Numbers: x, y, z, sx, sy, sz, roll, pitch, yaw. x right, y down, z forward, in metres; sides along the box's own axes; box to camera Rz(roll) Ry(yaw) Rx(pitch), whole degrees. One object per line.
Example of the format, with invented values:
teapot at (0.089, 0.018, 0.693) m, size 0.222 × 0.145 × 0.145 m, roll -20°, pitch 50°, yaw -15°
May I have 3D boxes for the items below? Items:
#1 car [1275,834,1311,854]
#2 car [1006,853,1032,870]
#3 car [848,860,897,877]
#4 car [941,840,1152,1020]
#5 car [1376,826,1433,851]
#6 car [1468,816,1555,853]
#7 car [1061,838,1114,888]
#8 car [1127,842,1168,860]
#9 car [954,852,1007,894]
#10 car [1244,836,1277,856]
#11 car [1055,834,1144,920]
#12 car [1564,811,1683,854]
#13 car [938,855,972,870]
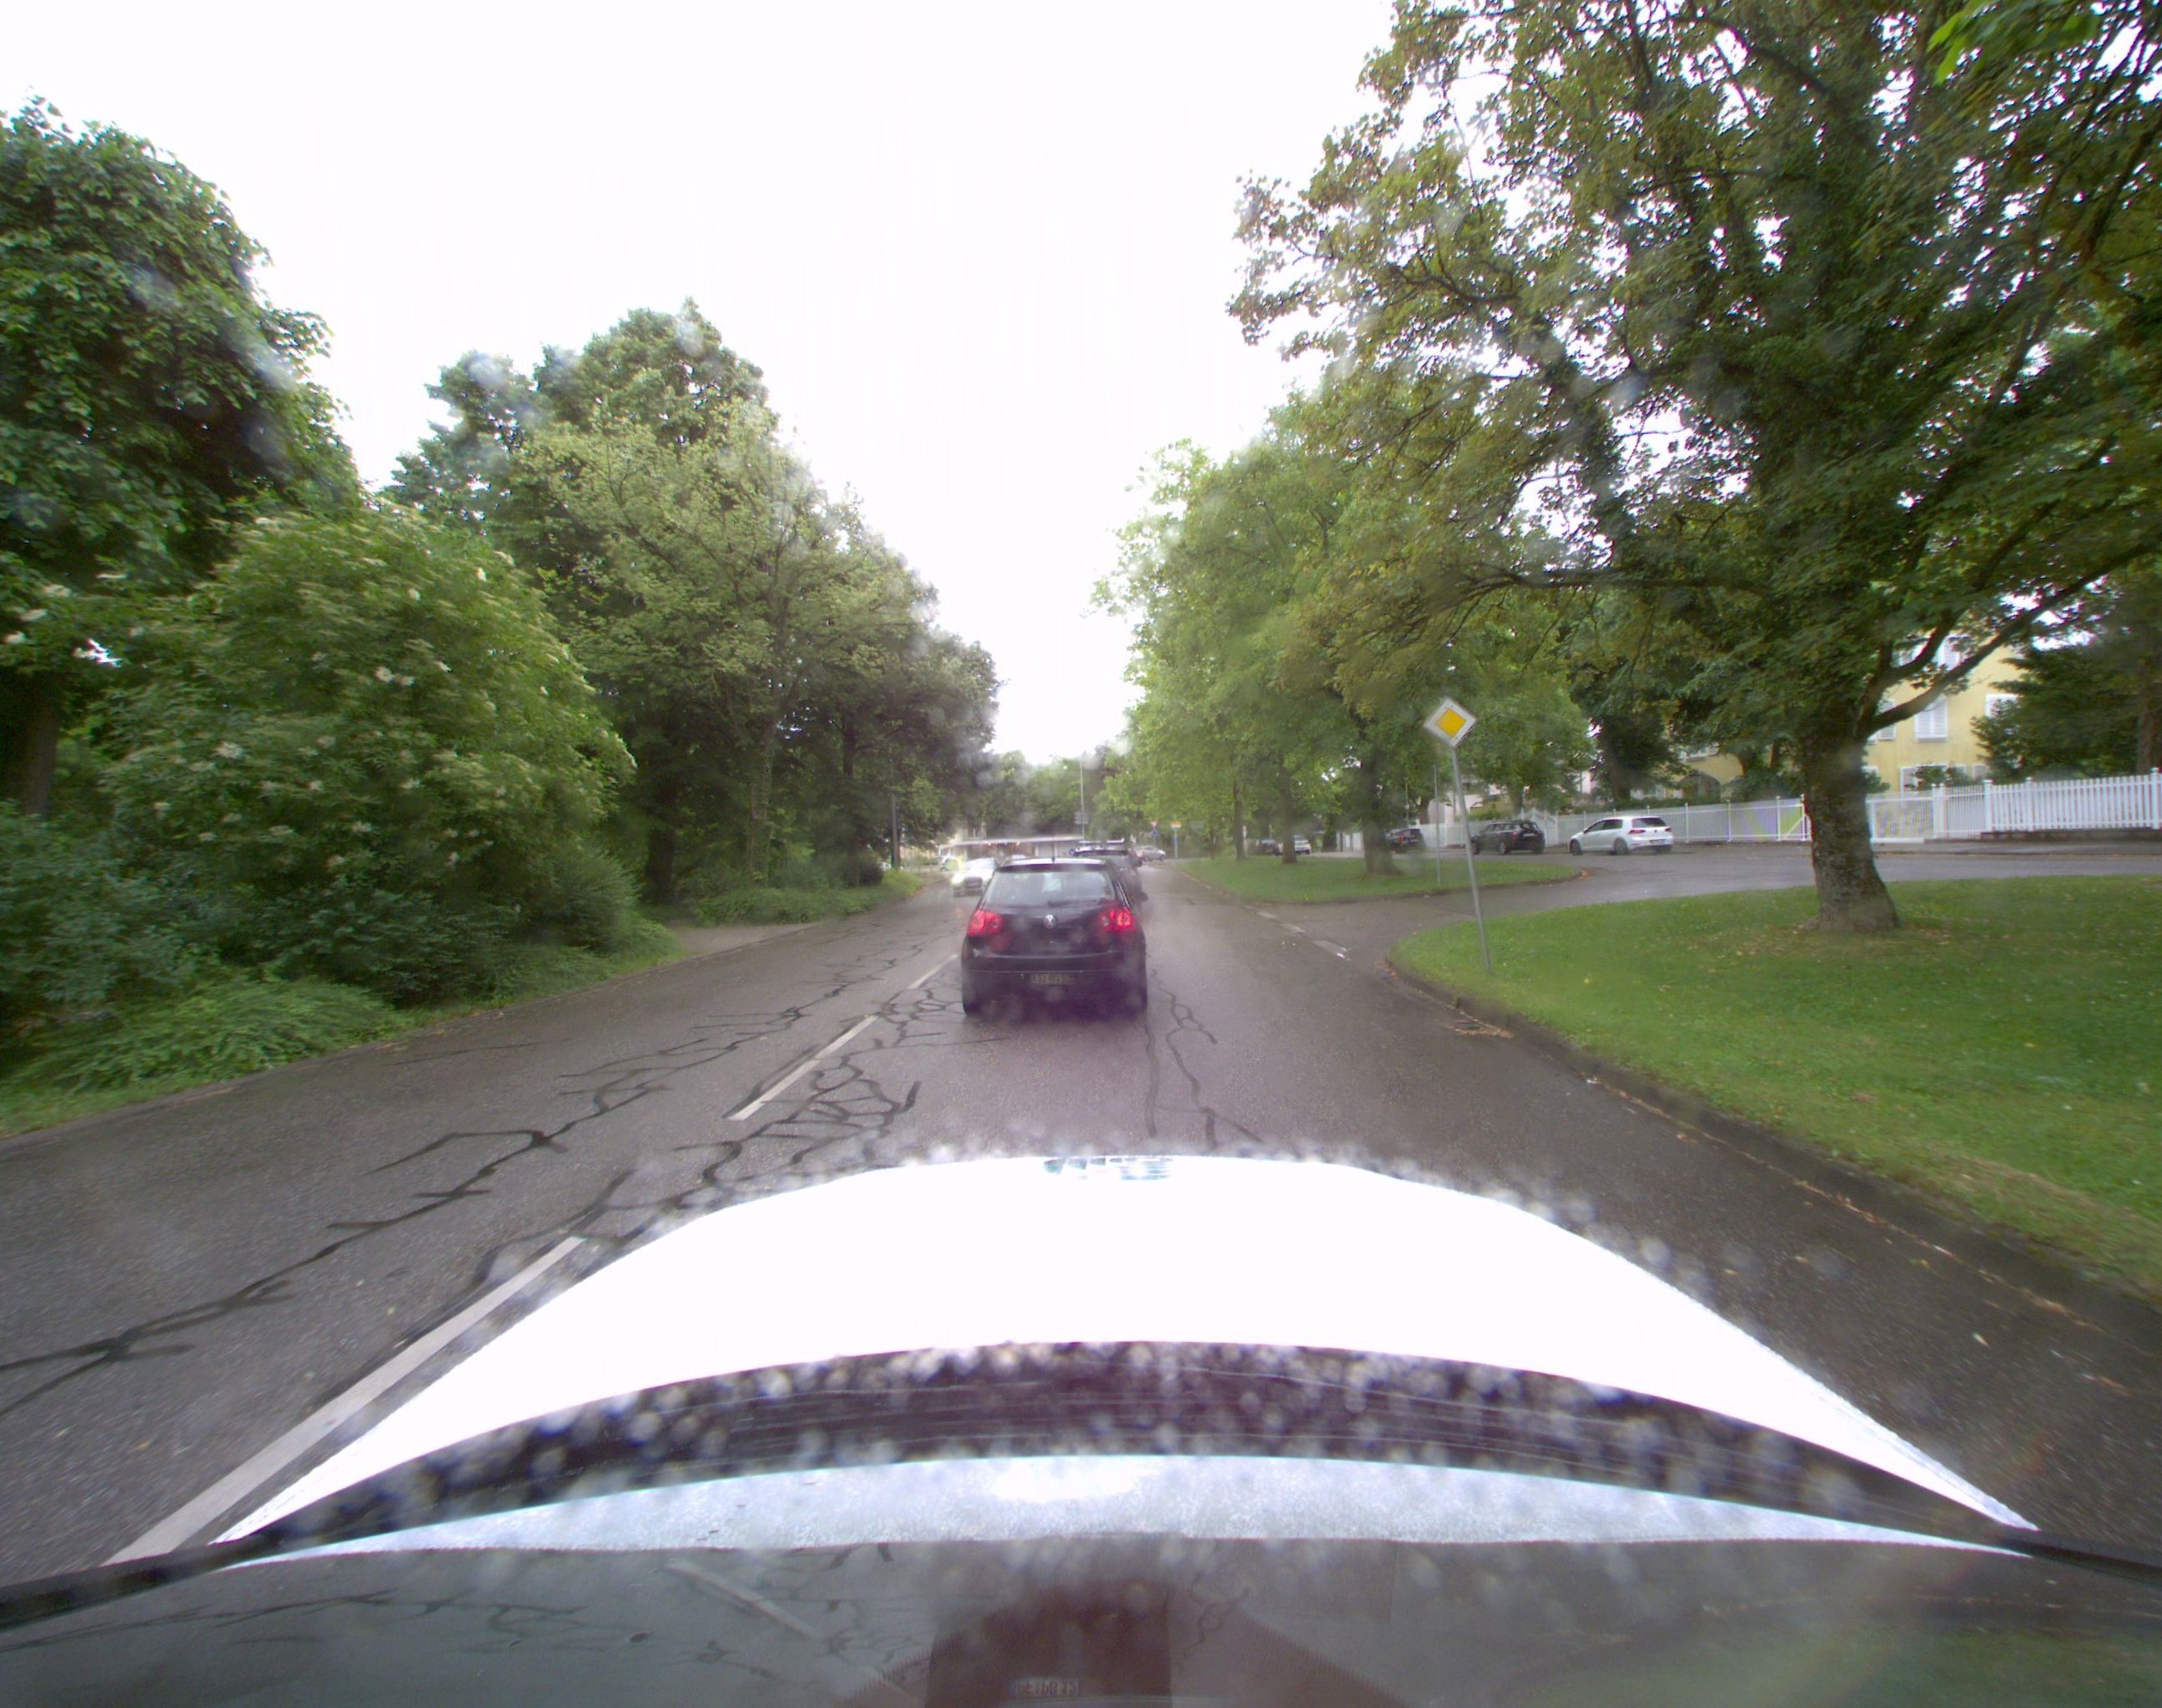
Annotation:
car at (16.370, -0.769, 63.059) m, size 1.796 × 1.406 × 4.002 m, roll -4°, pitch 0°, yaw 2°
car at (-5.679, 0.688, 74.095) m, size 1.798 × 1.393 × 3.962 m, roll -4°, pitch 0°, yaw -12°
car at (-20.467, 1.399, 80.020) m, size 4.507 × 1.419 × 1.836 m, roll -3°, pitch 0°, yaw -18°
car at (-0.211, 0.666, 8.894) m, size 1.791 × 1.515 × 3.756 m, roll -1°, pitch 0°, yaw 3°
car at (19.806, -0.948, 50.107) m, size 1.796 × 1.411 × 4.112 m, roll -4°, pitch 1°, yaw 0°
car at (19.981, -0.904, 37.968) m, size 1.796 × 1.529 × 4.112 m, roll -4°, pitch 1°, yaw 0°
car at (0.326, 0.337, 31.983) m, size 1.848 × 1.784 × 4.003 m, roll -2°, pitch 0°, yaw 3°
car at (6.986, -0.323, 85.280) m, size 4.024 × 1.706 × 1.975 m, roll -3°, pitch 0°, yaw -45°
car at (-4.043, 0.722, 33.236) m, size 1.603 × 1.427 × 4.007 m, roll -3°, pitch 1°, yaw 0°
car at (13.848, -0.633, 63.007) m, size 1.796 × 1.385 × 4.002 m, roll -4°, pitch 0°, yaw 2°
car at (0.502, 0.479, 19.603) m, size 1.848 × 1.784 × 4.003 m, roll -2°, pitch 0°, yaw 3°
car at (20.218, -0.790, 30.588) m, size 1.612 × 1.409 × 4.006 m, roll -4°, pitch 1°, yaw -3°
car at (-12.570, 0.859, 81.221) m, size 3.112 × 1.310 × 1.539 m, roll -3°, pitch 0°, yaw -2°
